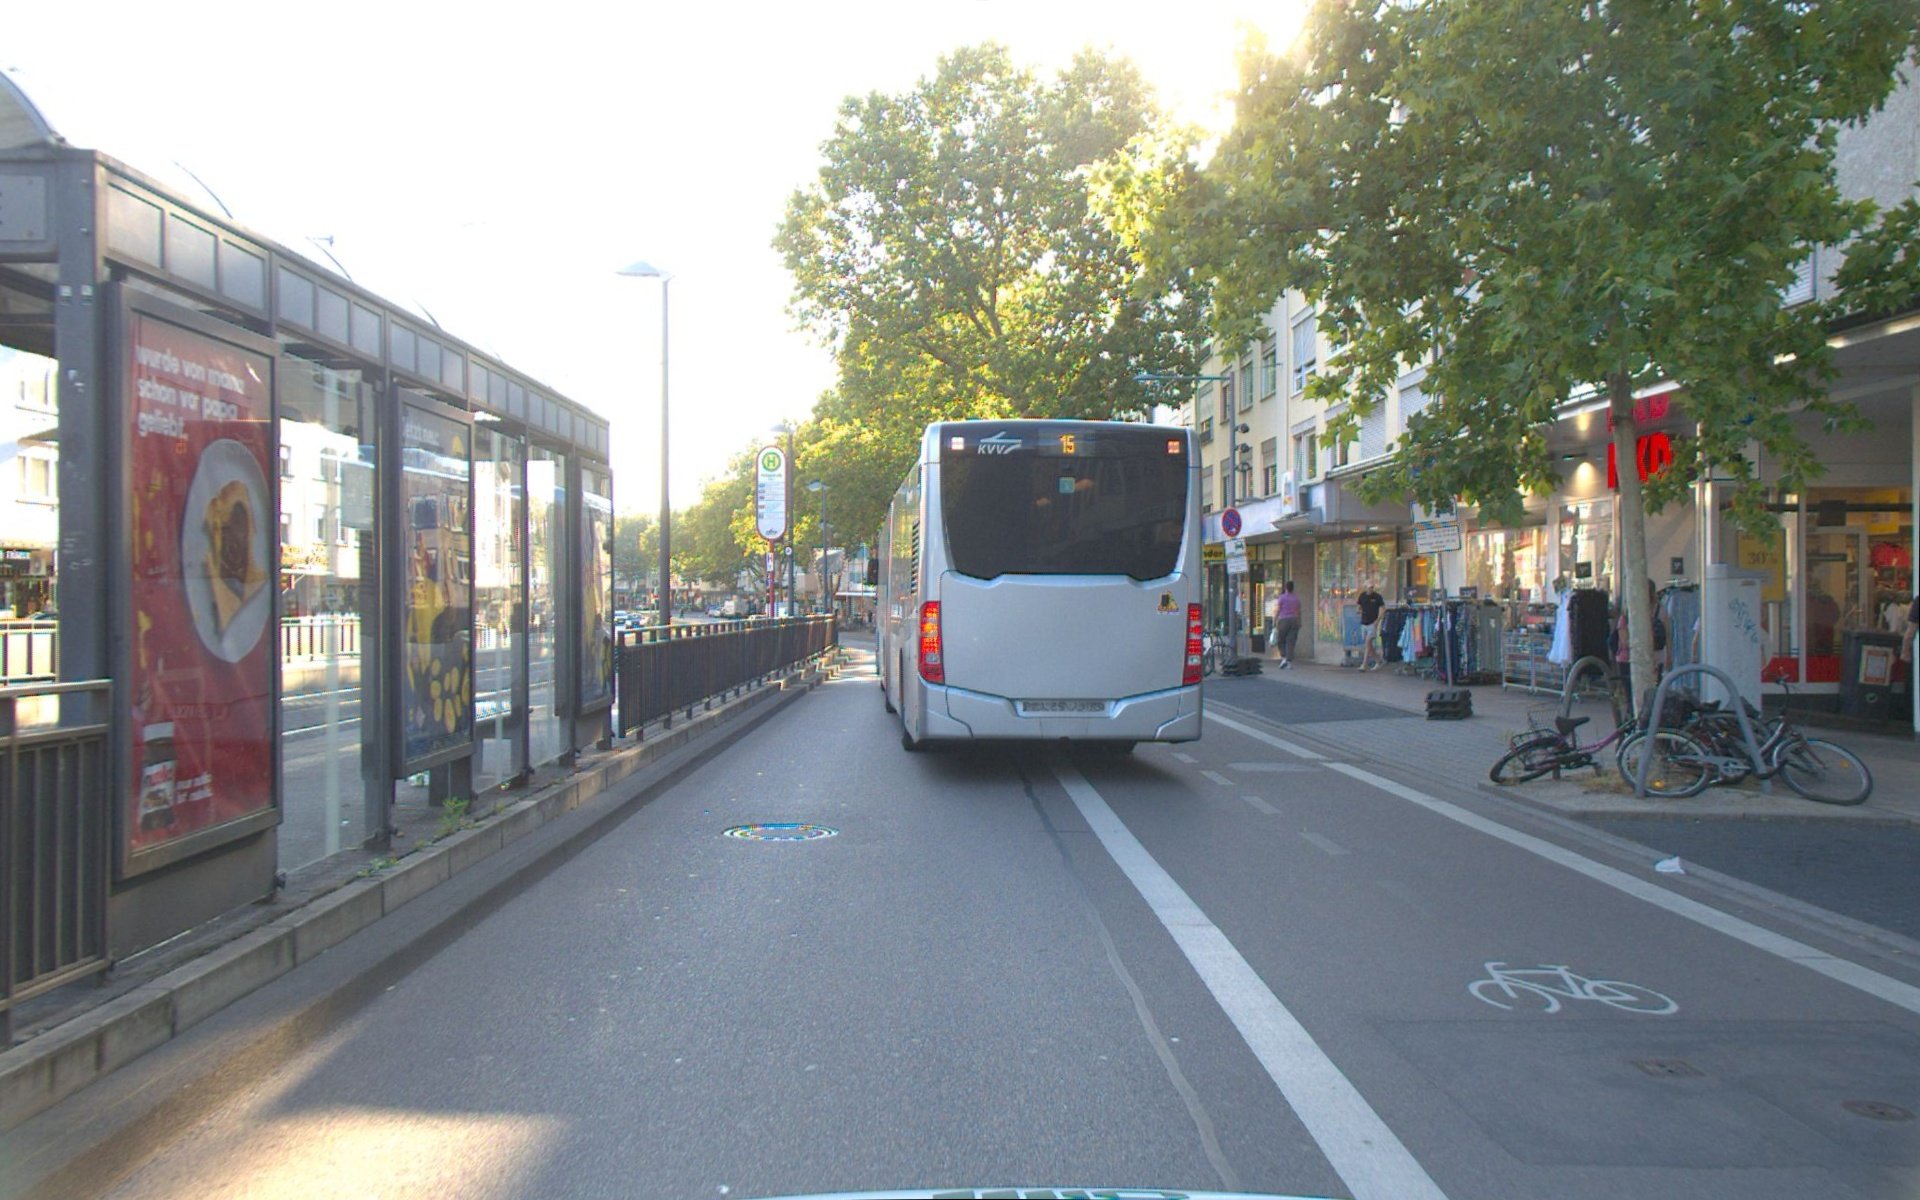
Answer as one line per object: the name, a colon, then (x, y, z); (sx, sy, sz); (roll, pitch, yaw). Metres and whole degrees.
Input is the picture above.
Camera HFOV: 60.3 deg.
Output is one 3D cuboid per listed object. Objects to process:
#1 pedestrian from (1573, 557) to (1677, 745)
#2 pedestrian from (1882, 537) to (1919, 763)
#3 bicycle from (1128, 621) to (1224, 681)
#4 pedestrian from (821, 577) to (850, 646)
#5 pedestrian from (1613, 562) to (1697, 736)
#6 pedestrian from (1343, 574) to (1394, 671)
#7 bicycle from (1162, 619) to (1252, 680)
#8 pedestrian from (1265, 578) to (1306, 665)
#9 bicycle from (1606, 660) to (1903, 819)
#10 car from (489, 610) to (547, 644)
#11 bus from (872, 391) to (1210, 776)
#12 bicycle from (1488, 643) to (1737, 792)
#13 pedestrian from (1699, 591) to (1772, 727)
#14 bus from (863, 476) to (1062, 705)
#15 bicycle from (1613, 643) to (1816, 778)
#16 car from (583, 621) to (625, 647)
pedestrian: (6.637, 0.495, 16.536); (0.709, 1.827, 0.766); (-1, -1, -1)
pedestrian: (8.122, 0.403, 13.527); (0.709, 1.827, 0.766); (-1, -1, -1)
bicycle: (4.515, 1.062, 34.668); (1.848, 1.096, 0.754); (-5, 0, 2)
pedestrian: (-4.662, 0.434, 62.238); (0.870, 2.591, 1.164); (-1, -1, 6)
pedestrian: (7.452, 0.518, 17.761); (0.553, 1.827, 0.766); (-1, -1, -1)
pedestrian: (8.020, 0.440, 32.508); (0.709, 1.826, 0.766); (-3, -1, -1)
bicycle: (5.044, 0.999, 33.776); (1.677, 1.096, 0.589); (-5, 0, -18)
pedestrian: (6.937, 0.456, 35.262); (0.709, 1.827, 0.766); (-1, -1, -1)
bicycle: (5.772, 0.994, 12.068); (1.748, 0.958, 0.793); (-4, 0, -6)
car: (-22.562, 1.349, 84.534); (1.953, 1.680, 3.999); (-1, 0, -1)
bus: (0.436, -0.126, 18.436); (2.643, 3.173, 9.373); (0, 0, -4)
bicycle: (5.400, 0.957, 13.692); (1.765, 0.637, 0.935); (-4, -34, -32)
pedestrian: (8.223, 0.617, 17.557); (0.465, 1.419, 0.611); (-1, -1, -1)
bus: (-0.219, -0.120, 27.637); (2.643, 3.173, 9.062); (0, 0, -4)
bicycle: (6.066, 0.876, 13.275); (1.676, 0.958, 0.645); (0, -9, -36)
car: (-23.872, 2.271, 111.015); (1.953, 1.680, 3.999); (-1, 0, -1)
